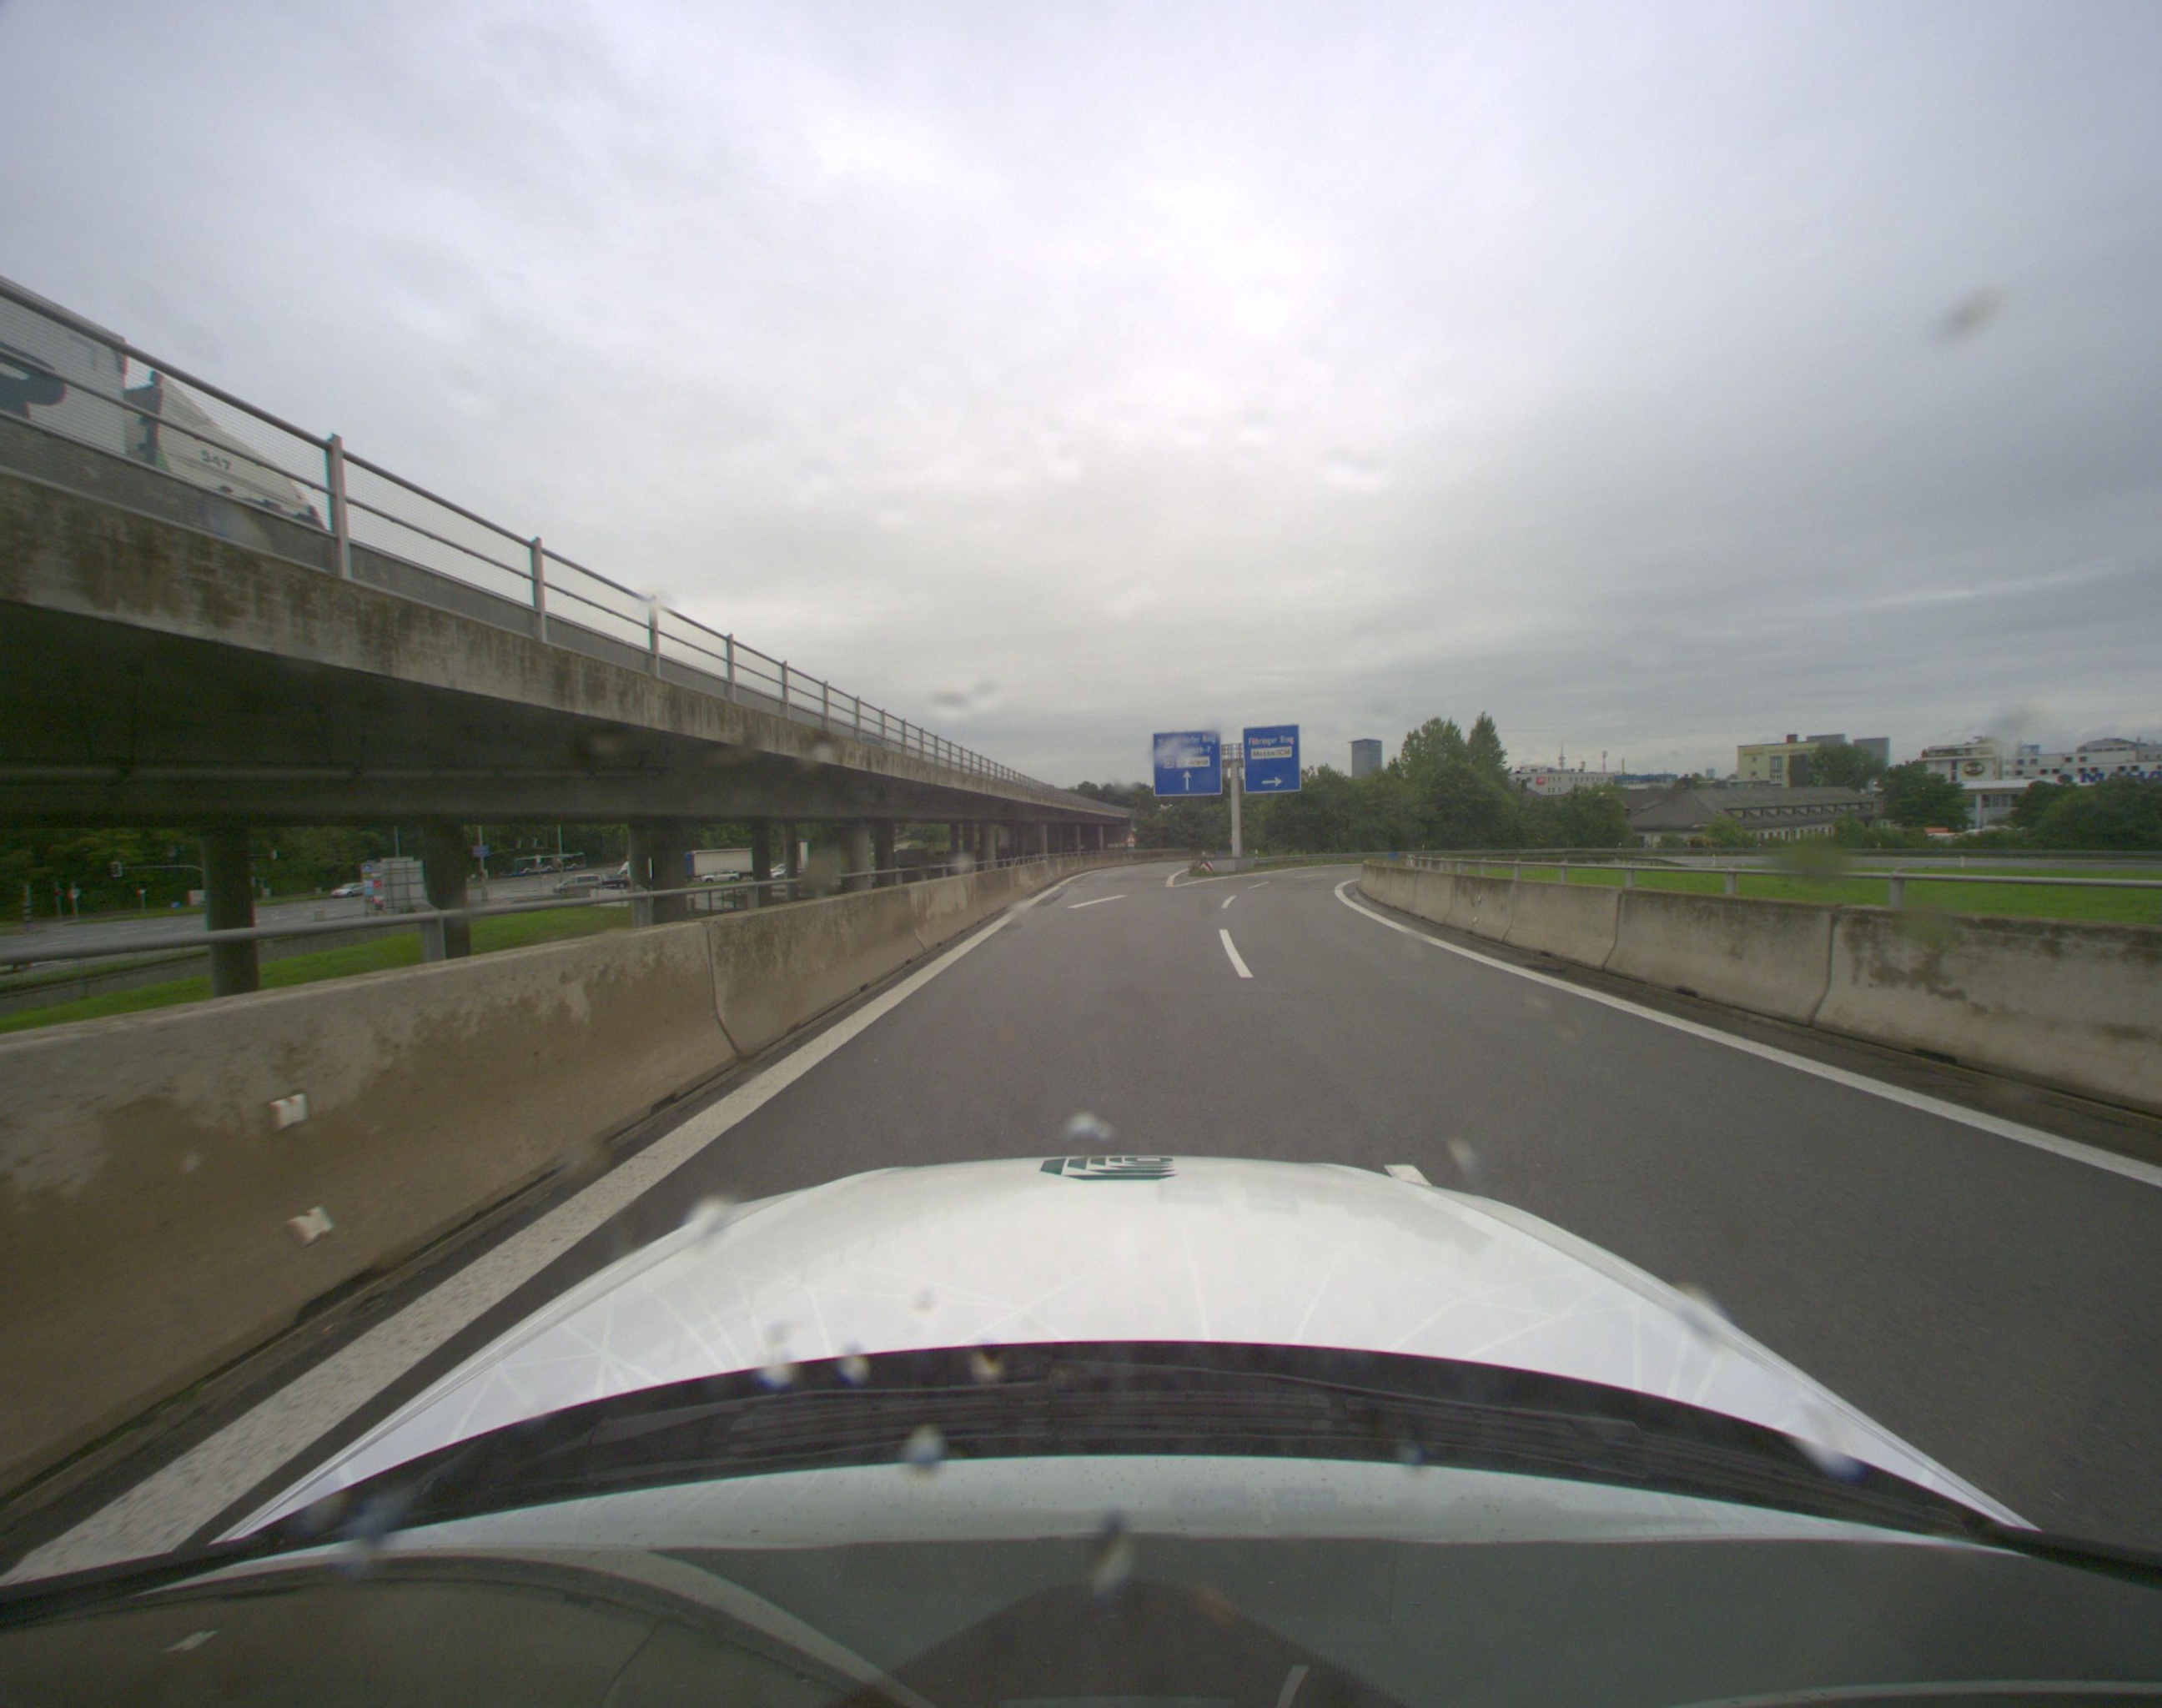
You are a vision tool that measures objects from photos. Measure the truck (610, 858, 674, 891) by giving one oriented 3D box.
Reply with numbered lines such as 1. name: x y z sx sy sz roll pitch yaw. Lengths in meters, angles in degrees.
1. truck: -53.551 2.421 99.356 6.668 3.679 2.771 -2 0 -33

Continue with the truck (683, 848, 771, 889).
1. truck: -43.969 1.738 101.287 9.637 4.591 2.771 -2 0 -33

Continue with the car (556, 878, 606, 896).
1. car: -55.489 3.638 90.401 4.610 1.606 1.954 -2 0 -35

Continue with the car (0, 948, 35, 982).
1. car: -64.715 6.668 47.572 1.801 1.749 4.358 1 2 -5

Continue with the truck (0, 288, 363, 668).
1. truck: -12.756 -4.466 10.290 2.580 3.245 5.196 0 2 1

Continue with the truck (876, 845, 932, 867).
1. truck: -24.691 0.289 113.667 7.255 2.977 2.238 -1 0 -30

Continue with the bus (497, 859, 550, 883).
1. bus: -91.276 2.752 133.575 2.219 3.701 9.903 0 0 -2

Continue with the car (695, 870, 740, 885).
1. car: -43.743 2.786 97.964 4.610 1.583 1.954 -2 0 -35

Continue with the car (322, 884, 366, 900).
1. car: -88.939 4.574 98.336 1.789 1.562 3.996 -3 1 -3

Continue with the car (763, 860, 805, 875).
1. car: -37.294 1.671 102.288 4.610 1.583 1.954 -2 0 -35

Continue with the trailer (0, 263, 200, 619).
1. trailer: -12.861 -4.402 3.486 2.648 3.297 14.065 0 2 1
